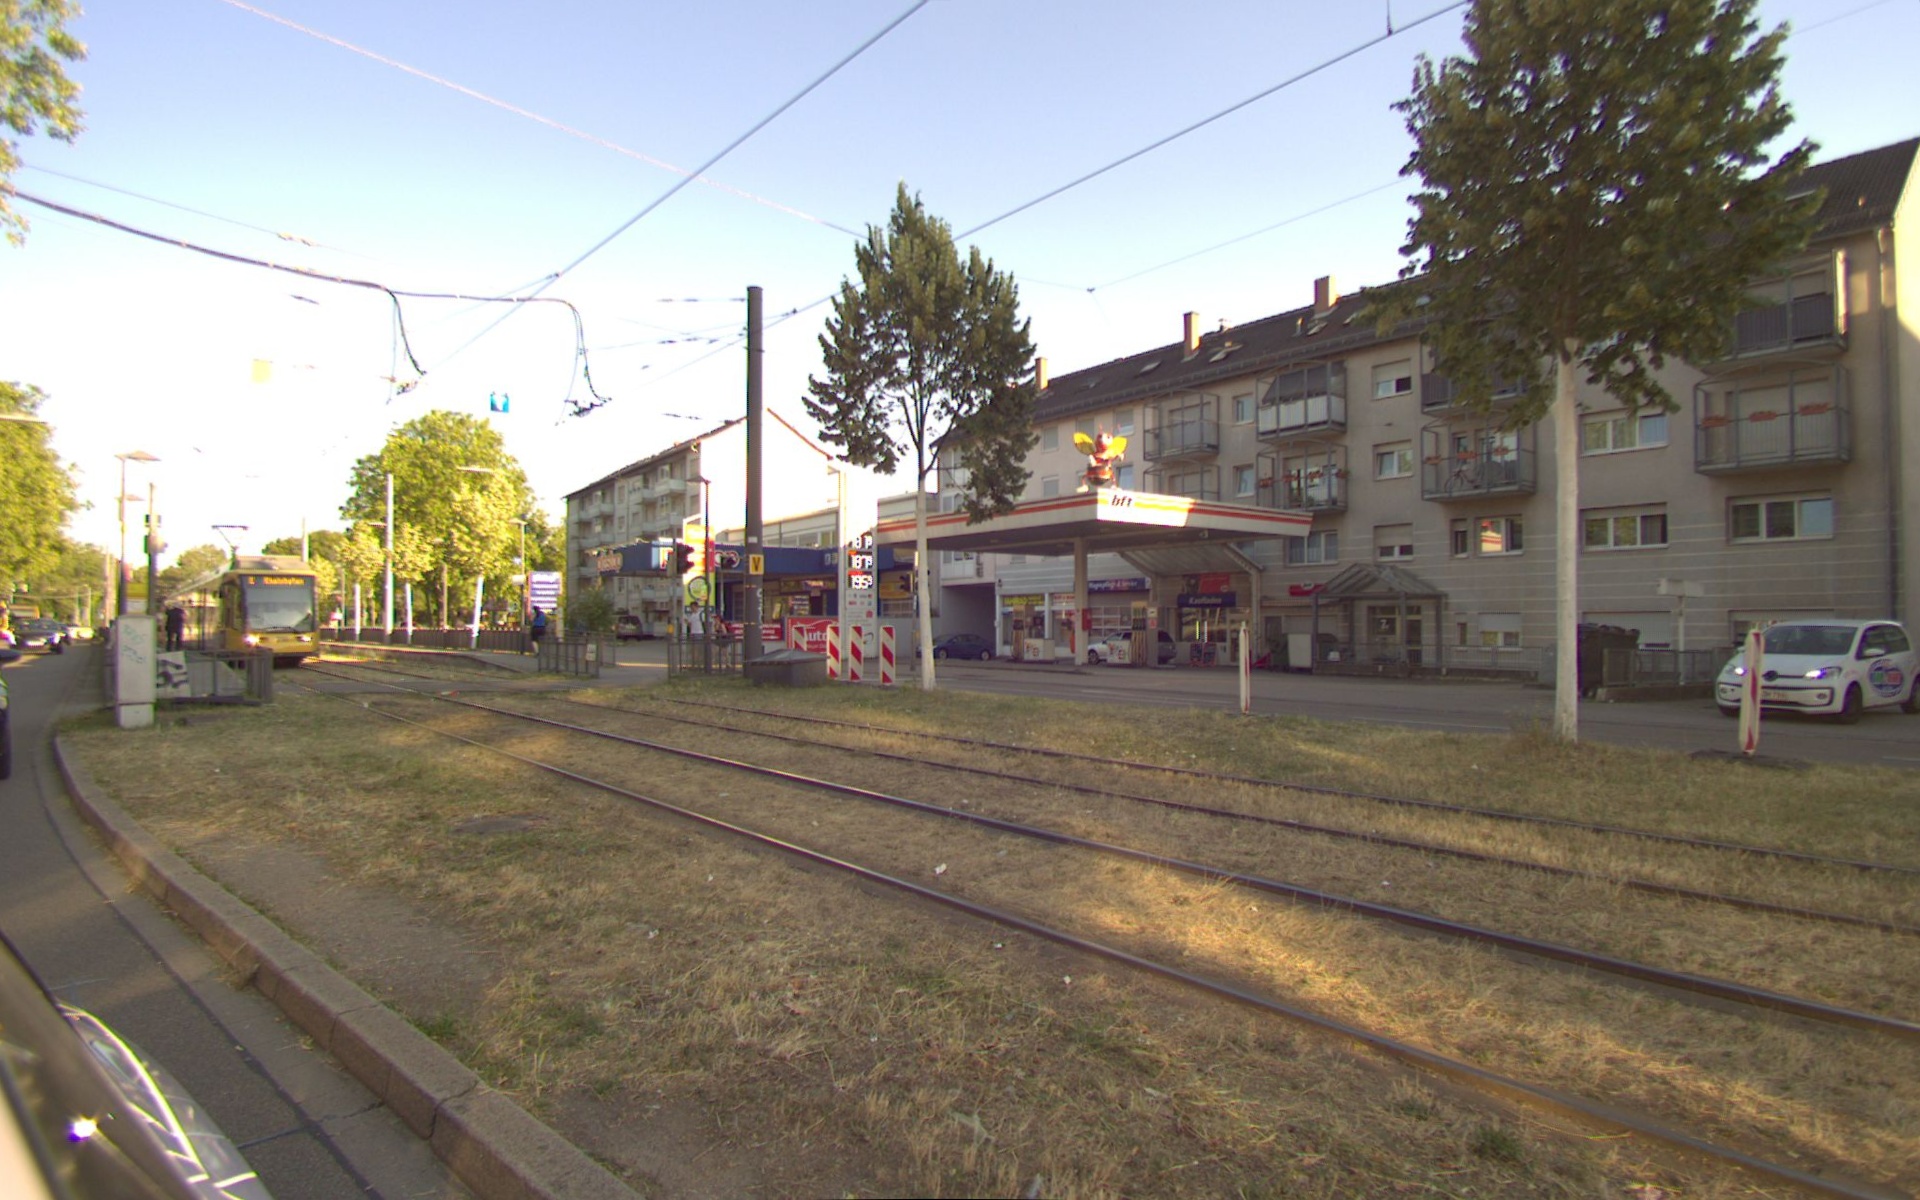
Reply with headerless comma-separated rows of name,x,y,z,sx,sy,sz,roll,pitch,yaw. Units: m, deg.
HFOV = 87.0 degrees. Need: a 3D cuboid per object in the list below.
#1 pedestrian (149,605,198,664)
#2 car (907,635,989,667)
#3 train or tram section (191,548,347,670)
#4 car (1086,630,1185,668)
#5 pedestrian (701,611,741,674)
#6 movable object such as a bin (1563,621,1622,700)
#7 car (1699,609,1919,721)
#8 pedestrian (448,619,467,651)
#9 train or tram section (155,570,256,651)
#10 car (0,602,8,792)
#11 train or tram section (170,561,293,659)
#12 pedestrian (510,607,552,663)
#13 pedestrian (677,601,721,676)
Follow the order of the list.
pedestrian,-21.278,0.914,27.384,0.789,1.562,0.906,-1,-1,41
car,-0.587,2.525,50.535,3.745,1.535,1.821,1,-2,-38
train or tram section,-23.425,0.369,34.006,2.998,3.544,10.110,3,-2,-41
car,7.315,2.022,42.412,1.789,1.535,3.835,2,-2,-40
pedestrian,-6.738,1.191,28.530,0.744,1.760,0.861,2,-2,-44
movable object such as a bin,11.606,1.095,18.572,0.655,1.411,0.750,2,-3,-42
car,13.261,0.952,15.423,3.763,1.523,1.823,2,-2,-29
pedestrian,-30.872,2.121,62.129,0.744,1.896,1.002,-2,0,-42
train or tram section,-36.813,0.566,49.190,2.998,3.544,10.110,3,-2,-41
car,-10.290,0.898,9.485,1.884,1.628,4.088,-2,0,-45
train or tram section,-30.114,0.465,41.590,2.998,3.544,10.110,3,-2,-41
pedestrian,-13.430,1.081,31.672,0.923,1.666,0.927,-2,0,-41
pedestrian,-6.917,1.014,26.830,0.847,1.947,0.756,2,-2,-43
